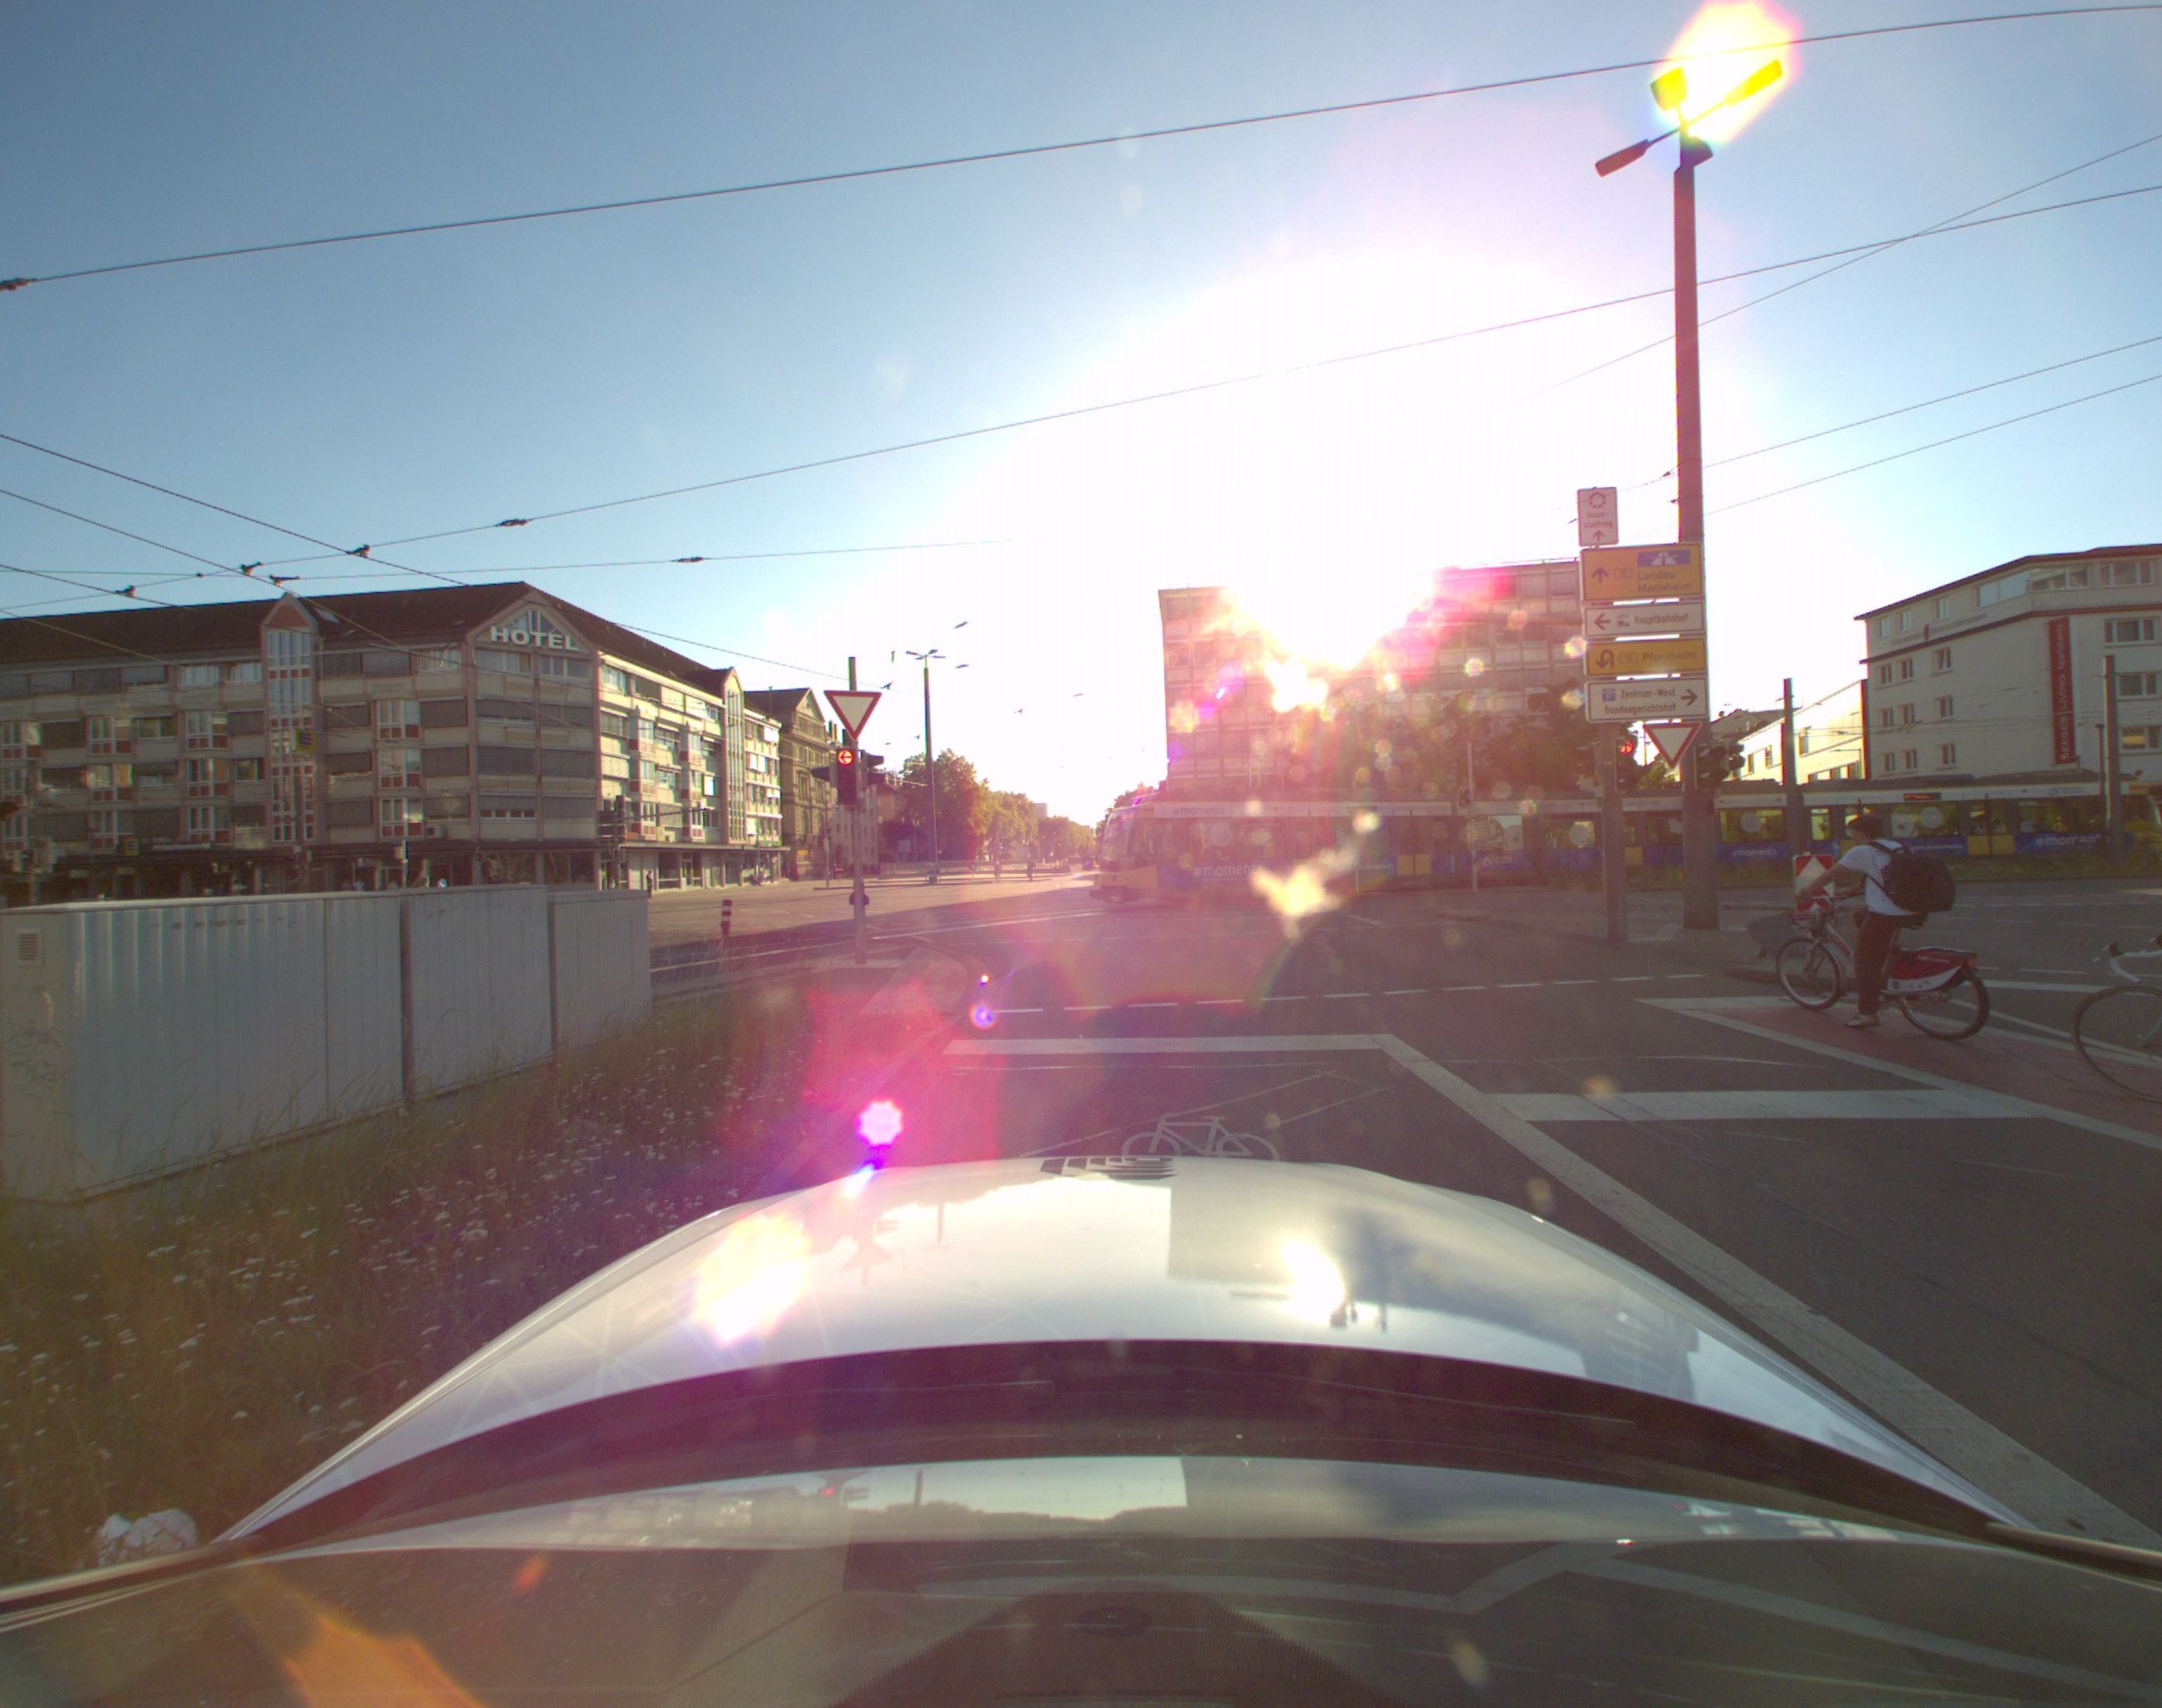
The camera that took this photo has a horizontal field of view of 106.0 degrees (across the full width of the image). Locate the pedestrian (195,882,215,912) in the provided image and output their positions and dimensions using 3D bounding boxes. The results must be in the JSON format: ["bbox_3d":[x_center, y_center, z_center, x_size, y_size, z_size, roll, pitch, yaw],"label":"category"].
[{"bbox_3d":[-56.211,2.750,52.250,0.598,1.852,0.613,-1,-1,12],"label":"pedestrian"}]

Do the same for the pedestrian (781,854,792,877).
[{"bbox_3d":[-31.300,1.196,86.515,0.926,2.398,0.958,0,-1,-9],"label":"pedestrian"}]

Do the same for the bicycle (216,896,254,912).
[{"bbox_3d":[-52.464,3.076,50.508,2.060,0.917,0.502,-2,-1,7],"label":"bicycle"}]

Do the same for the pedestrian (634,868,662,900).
[{"bbox_3d":[-28.246,1.955,53.155,1.191,1.881,0.856,0,9,-3],"label":"pedestrian"}]

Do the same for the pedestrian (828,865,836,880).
[{"bbox_3d":[-28.166,2.087,92.242,0.693,1.695,0.724,0,-1,1],"label":"pedestrian"}]

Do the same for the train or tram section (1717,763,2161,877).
[{"bbox_3d":[31.577,-1.145,30.103,12.881,3.834,3.719,0,-1,3],"label":"train or tram section"}]

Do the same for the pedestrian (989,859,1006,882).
[{"bbox_3d":[-5.421,1.057,52.589,0.858,1.465,0.680,0,-6,-27],"label":"pedestrian"}]

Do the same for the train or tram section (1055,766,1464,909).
[{"bbox_3d":[6.056,-0.577,26.310,13.383,3.833,3.684,-2,-1,-25],"label":"train or tram section"}]

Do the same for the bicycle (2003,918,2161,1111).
[{"bbox_3d":[6.184,0.905,4.351,0.540,1.001,1.692,0,-1,-3],"label":"bicycle"}]

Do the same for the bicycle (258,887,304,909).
[{"bbox_3d":[-49.466,2.710,50.335,2.312,1.227,0.731,-2,-1,7],"label":"bicycle"}]

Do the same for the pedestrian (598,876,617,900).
[{"bbox_3d":[-29.707,2.145,51.062,0.703,1.453,0.855,0,-1,-3],"label":"pedestrian"}]

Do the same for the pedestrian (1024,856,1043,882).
[{"bbox_3d":[-3.171,0.986,54.418,1.191,1.731,0.855,0,-1,-3],"label":"pedestrian"}]

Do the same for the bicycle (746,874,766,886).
[{"bbox_3d":[-29.658,2.379,74.398,0.447,1.071,2.102,-1,-1,19],"label":"bicycle"}]

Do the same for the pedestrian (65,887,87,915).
[{"bbox_3d":[-64.706,3.034,52.441,0.671,1.778,0.825,-1,-1,32],"label":"pedestrian"}]

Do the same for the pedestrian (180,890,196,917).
[{"bbox_3d":[-56.901,3.150,51.893,0.596,1.635,0.615,-7,-3,36],"label":"pedestrian"}]

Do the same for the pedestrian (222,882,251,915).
[{"bbox_3d":[-43.571,2.291,42.008,0.680,1.660,0.780,0,-1,-4],"label":"pedestrian"}]

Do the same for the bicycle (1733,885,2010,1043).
[{"bbox_3d":[6.566,0.845,6.920,0.540,1.101,1.807,0,-1,-3],"label":"bicycle"}]

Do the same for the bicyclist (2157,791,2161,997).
[{"bbox_3d":[6.162,0.529,4.027,0.612,1.746,0.791,0,-1,-3],"label":"bicyclist"}]

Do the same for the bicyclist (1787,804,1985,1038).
[{"bbox_3d":[6.586,0.510,6.724,0.540,1.768,1.059,0,-1,-3],"label":"bicyclist"}]

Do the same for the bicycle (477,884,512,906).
[{"bbox_3d":[-34.863,2.445,48.416,0.635,1.145,1.773,0,2,6],"label":"bicycle"}]

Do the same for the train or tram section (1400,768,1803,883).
[{"bbox_3d":[18.837,-1.007,30.002,12.914,3.833,3.709,-1,-1,-5],"label":"train or tram section"}]

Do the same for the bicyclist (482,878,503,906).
[{"bbox_3d":[-34.877,2.223,48.268,0.636,1.596,0.659,0,2,5],"label":"bicyclist"}]

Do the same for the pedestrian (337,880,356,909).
[{"bbox_3d":[-43.664,2.389,48.414,0.625,1.694,0.859,0,-1,-30],"label":"pedestrian"}]

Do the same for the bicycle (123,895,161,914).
[{"bbox_3d":[-60.187,3.248,52.215,0.481,1.119,1.650,0,-1,2],"label":"bicycle"}]
